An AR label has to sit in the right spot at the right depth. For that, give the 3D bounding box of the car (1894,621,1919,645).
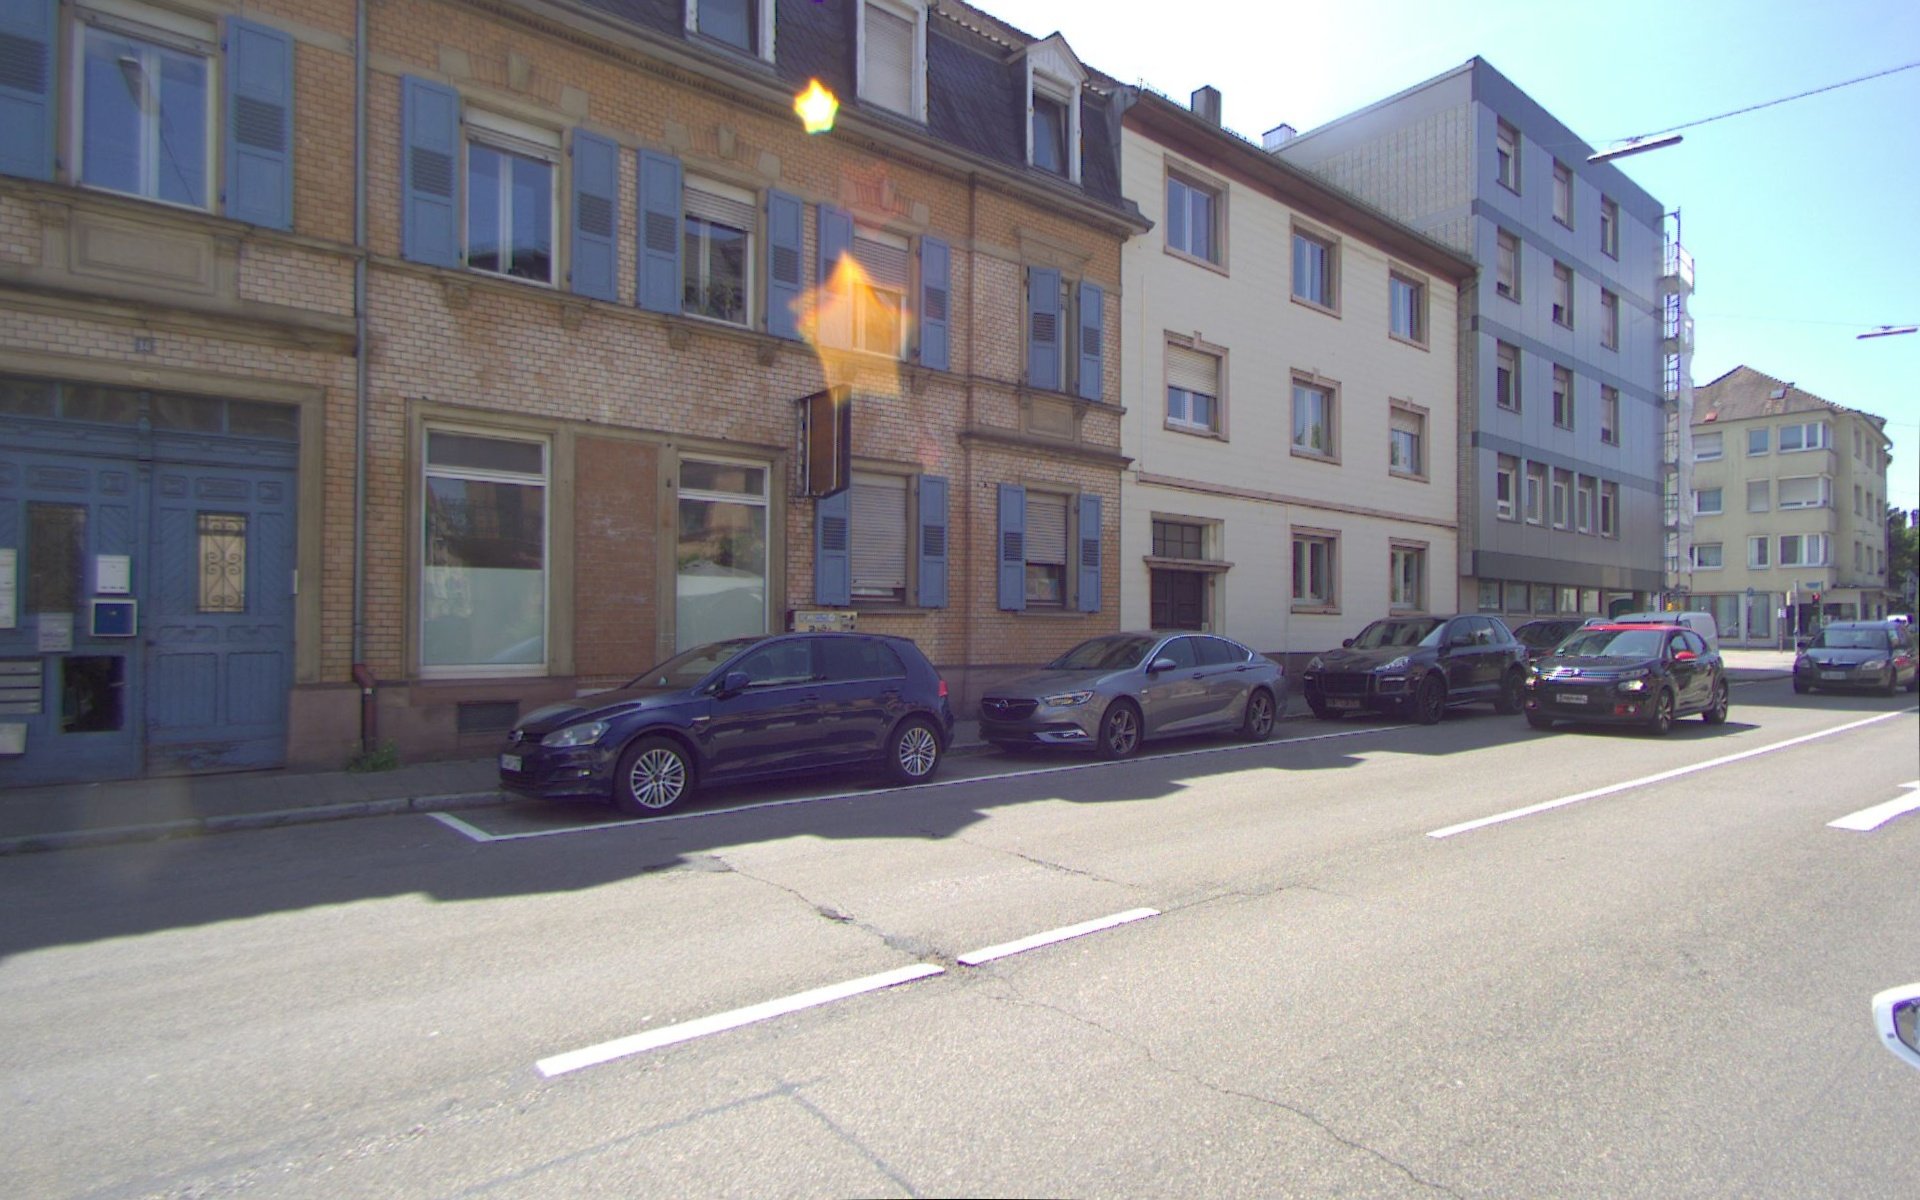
[{"bbox_3d":[63.352,2.217,66.425,1.969,1.539,3.984,1,-1,38],"label":"car"}]

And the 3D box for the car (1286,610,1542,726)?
[{"bbox_3d":[7.610,1.060,16.633,4.775,1.662,1.871,2,-3,-38],"label":"car"}]

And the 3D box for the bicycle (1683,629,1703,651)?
[{"bbox_3d":[33.110,1.796,45.382,1.771,0.980,0.393,1,-1,-43],"label":"bicycle"}]

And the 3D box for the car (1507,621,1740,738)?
[{"bbox_3d":[9.854,1.079,14.807,4.097,1.497,1.688,1,-2,-38],"label":"car"}]

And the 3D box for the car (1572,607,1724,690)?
[{"bbox_3d":[16.986,1.163,24.710,4.750,1.849,1.898,2,-3,-40],"label":"car"}]

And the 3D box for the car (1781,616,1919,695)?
[{"bbox_3d":[19.921,1.186,22.361,4.274,1.595,1.688,1,-2,-38],"label":"car"}]

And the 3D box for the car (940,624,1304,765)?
[{"bbox_3d":[2.180,1.096,12.548,4.801,1.424,1.849,2,-5,-42],"label":"car"}]

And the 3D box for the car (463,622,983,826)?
[{"bbox_3d":[-1.987,0.998,9.217,4.299,1.424,1.849,2,-5,-42],"label":"car"}]

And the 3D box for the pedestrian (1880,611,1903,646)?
[{"bbox_3d":[53.759,1.650,57.987,0.924,1.957,0.972,0,-1,40],"label":"pedestrian"}]

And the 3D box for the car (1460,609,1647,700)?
[{"bbox_3d":[12.206,1.083,20.537,4.625,1.662,1.869,2,-3,-40],"label":"car"}]
